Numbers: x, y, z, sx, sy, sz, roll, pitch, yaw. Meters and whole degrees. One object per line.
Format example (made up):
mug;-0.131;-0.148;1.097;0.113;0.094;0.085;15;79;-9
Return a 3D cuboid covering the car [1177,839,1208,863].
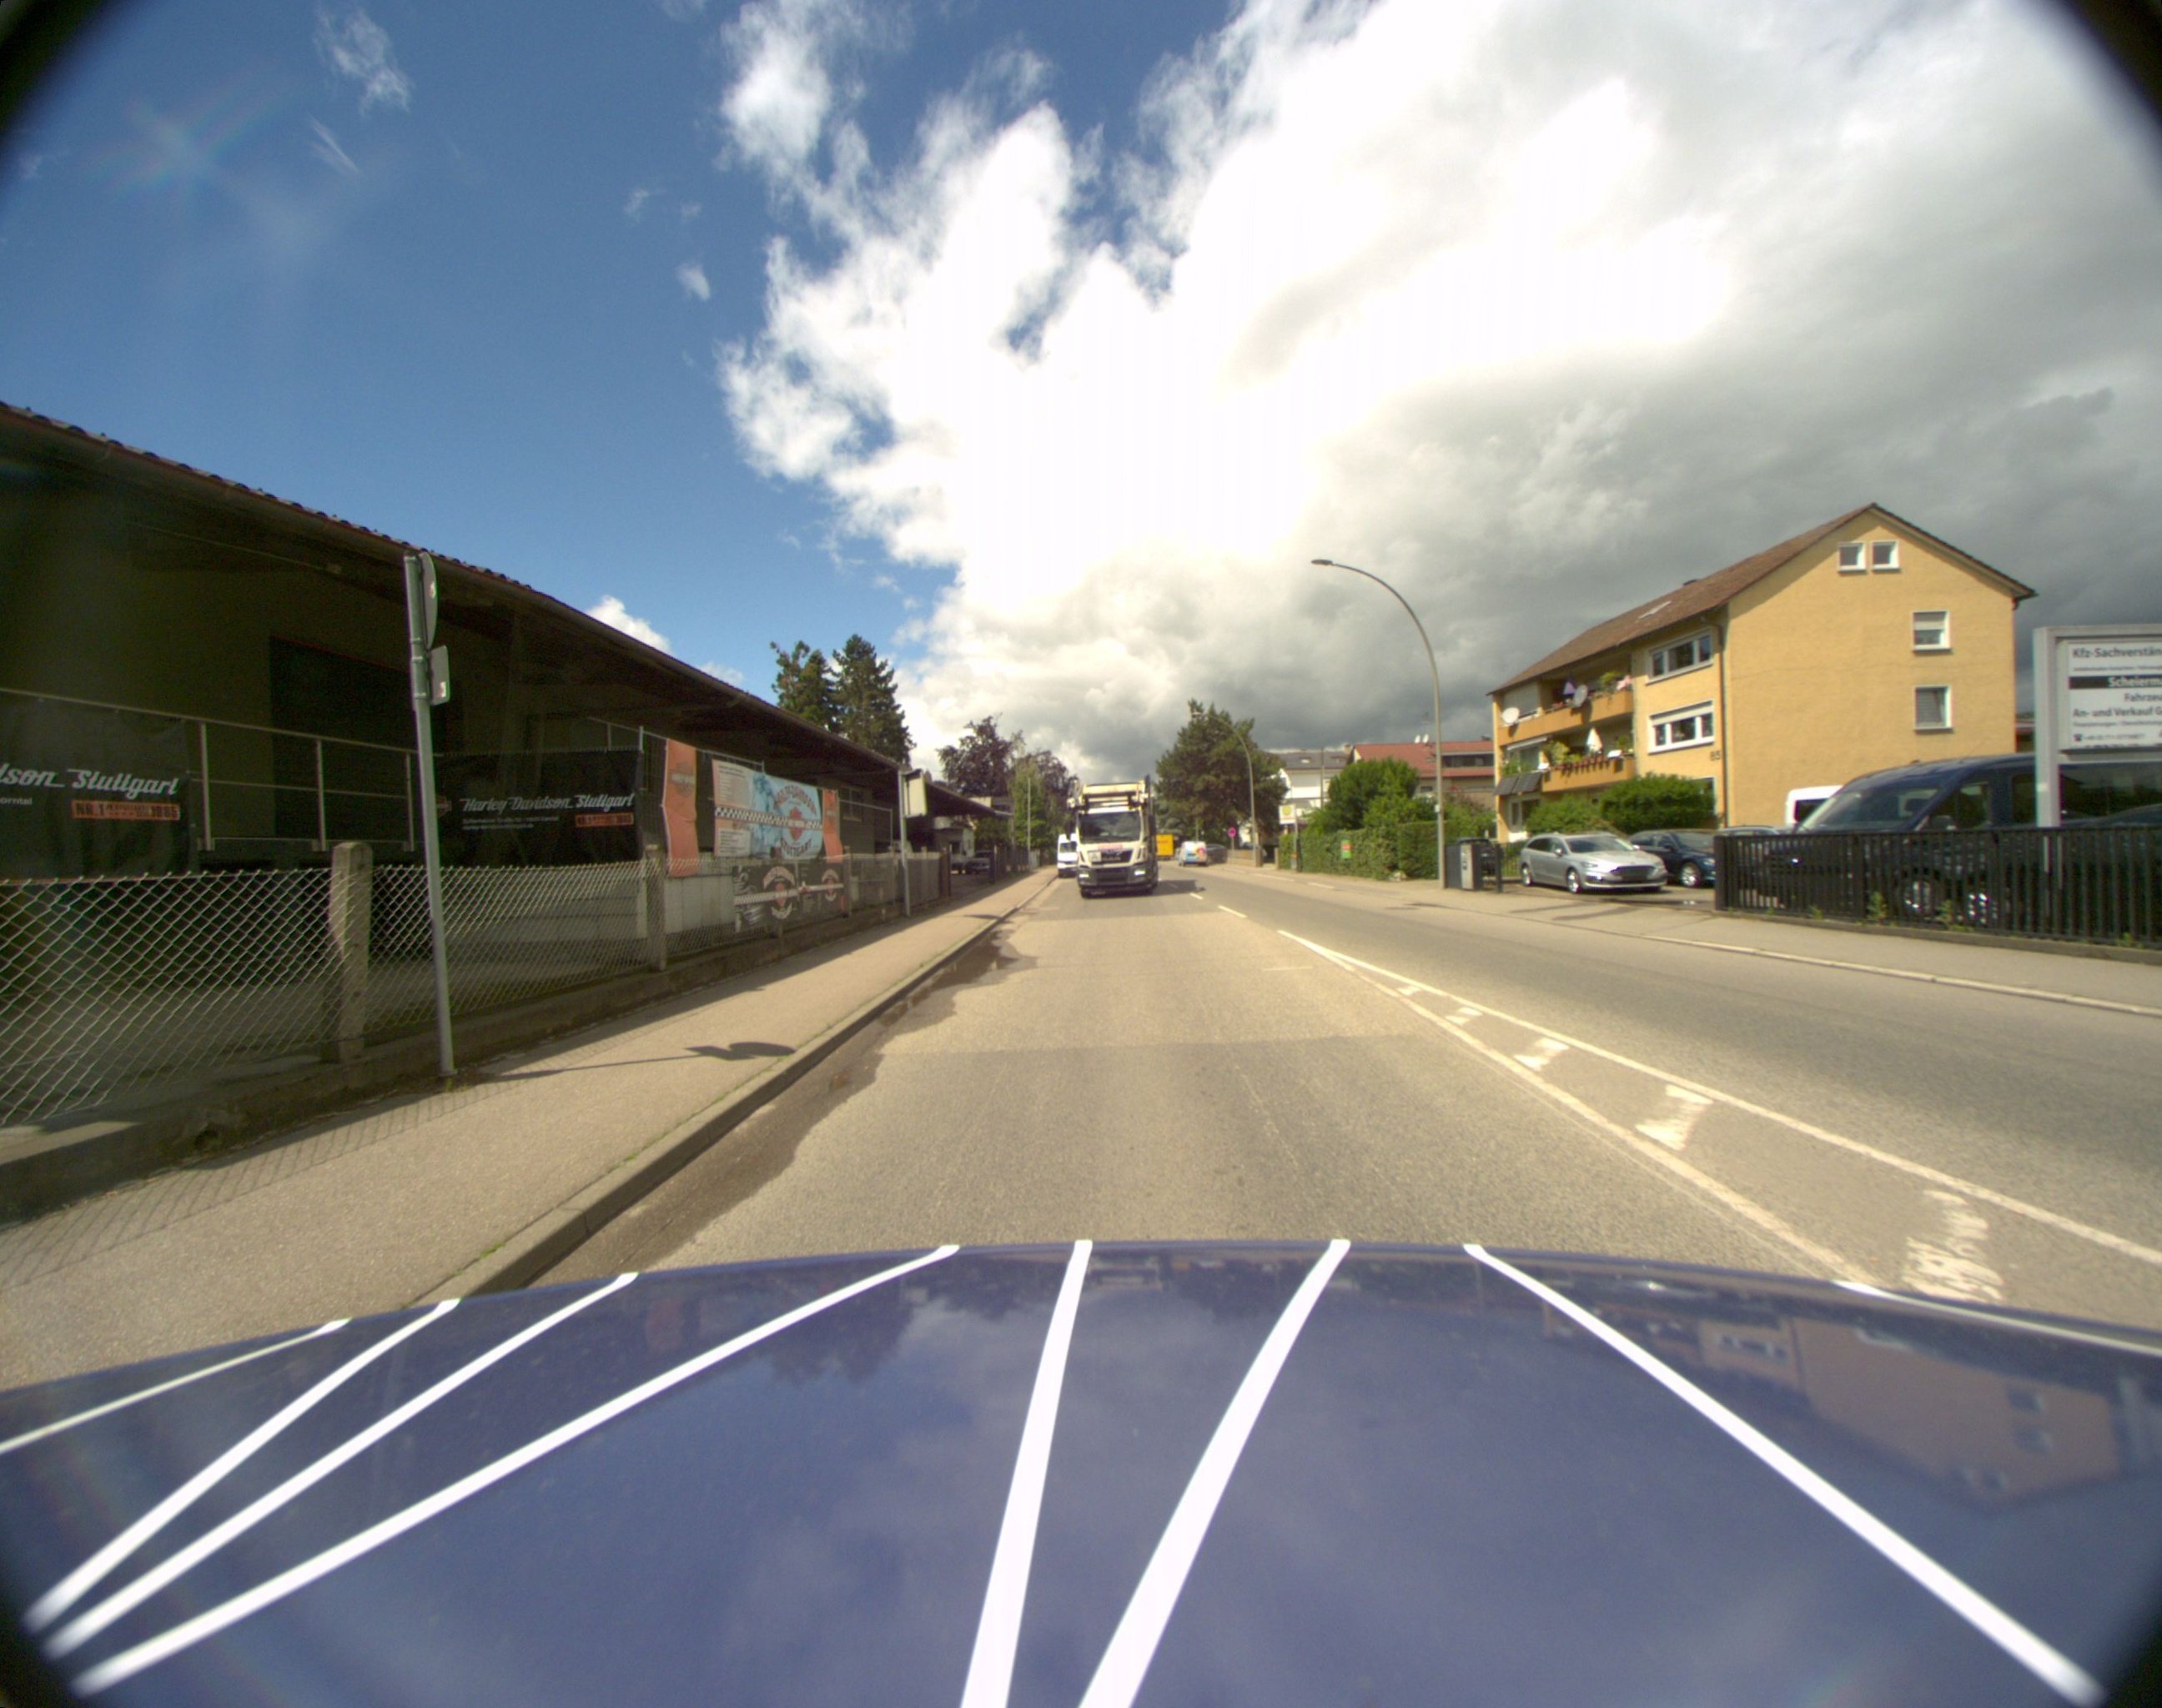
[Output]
car;8.346;-0.262;56.967;1.729;1.671;3.999;-1;1;0

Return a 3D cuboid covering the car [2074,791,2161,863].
car;29.390;-0.741;19.756;1.998;1.915;4.000;-2;1;3

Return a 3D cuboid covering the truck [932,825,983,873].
truck;-7.800;-0.348;48.556;2.091;2.812;5.202;-2;1;3

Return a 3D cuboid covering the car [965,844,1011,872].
car;-5.671;0.183;46.957;1.862;1.521;5.202;-2;1;3

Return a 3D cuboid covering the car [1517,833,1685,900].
car;12.993;0.240;19.343;1.887;1.450;4.352;-3;1;10

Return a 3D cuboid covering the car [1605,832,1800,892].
car;15.768;0.151;19.598;1.884;1.334;4.000;-2;1;3

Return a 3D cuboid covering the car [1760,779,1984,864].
car;21.133;-0.833;20.574;1.998;2.002;4.000;-2;1;3

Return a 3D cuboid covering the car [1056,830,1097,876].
car;-0.200;-0.119;45.144;2.091;2.519;5.202;-2;1;3

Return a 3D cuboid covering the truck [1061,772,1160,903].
truck;1.393;-0.592;27.753;2.663;3.789;9.818;-3;1;7

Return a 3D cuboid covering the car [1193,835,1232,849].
car;17.550;-1.607;101.368;4.734;1.669;2.218;-2;1;1

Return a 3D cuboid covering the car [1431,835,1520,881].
car;15.671;0.112;30.358;1.830;1.656;3.522;-2;1;3

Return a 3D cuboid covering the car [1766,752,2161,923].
car;14.639;-0.268;12.102;5.363;2.371;2.104;-2;1;4

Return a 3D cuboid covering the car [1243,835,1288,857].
car;17.740;-0.762;73.206;2.003;2.002;3.990;-3;1;-30

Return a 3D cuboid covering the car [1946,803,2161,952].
car;12.680;0.220;8.565;1.813;1.612;3.621;-2;1;3

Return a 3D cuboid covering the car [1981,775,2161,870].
car;26.685;-0.818;19.734;1.998;2.256;4.000;-2;1;3

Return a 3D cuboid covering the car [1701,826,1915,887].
car;18.774;0.016;19.908;1.883;1.364;4.000;-2;1;3
